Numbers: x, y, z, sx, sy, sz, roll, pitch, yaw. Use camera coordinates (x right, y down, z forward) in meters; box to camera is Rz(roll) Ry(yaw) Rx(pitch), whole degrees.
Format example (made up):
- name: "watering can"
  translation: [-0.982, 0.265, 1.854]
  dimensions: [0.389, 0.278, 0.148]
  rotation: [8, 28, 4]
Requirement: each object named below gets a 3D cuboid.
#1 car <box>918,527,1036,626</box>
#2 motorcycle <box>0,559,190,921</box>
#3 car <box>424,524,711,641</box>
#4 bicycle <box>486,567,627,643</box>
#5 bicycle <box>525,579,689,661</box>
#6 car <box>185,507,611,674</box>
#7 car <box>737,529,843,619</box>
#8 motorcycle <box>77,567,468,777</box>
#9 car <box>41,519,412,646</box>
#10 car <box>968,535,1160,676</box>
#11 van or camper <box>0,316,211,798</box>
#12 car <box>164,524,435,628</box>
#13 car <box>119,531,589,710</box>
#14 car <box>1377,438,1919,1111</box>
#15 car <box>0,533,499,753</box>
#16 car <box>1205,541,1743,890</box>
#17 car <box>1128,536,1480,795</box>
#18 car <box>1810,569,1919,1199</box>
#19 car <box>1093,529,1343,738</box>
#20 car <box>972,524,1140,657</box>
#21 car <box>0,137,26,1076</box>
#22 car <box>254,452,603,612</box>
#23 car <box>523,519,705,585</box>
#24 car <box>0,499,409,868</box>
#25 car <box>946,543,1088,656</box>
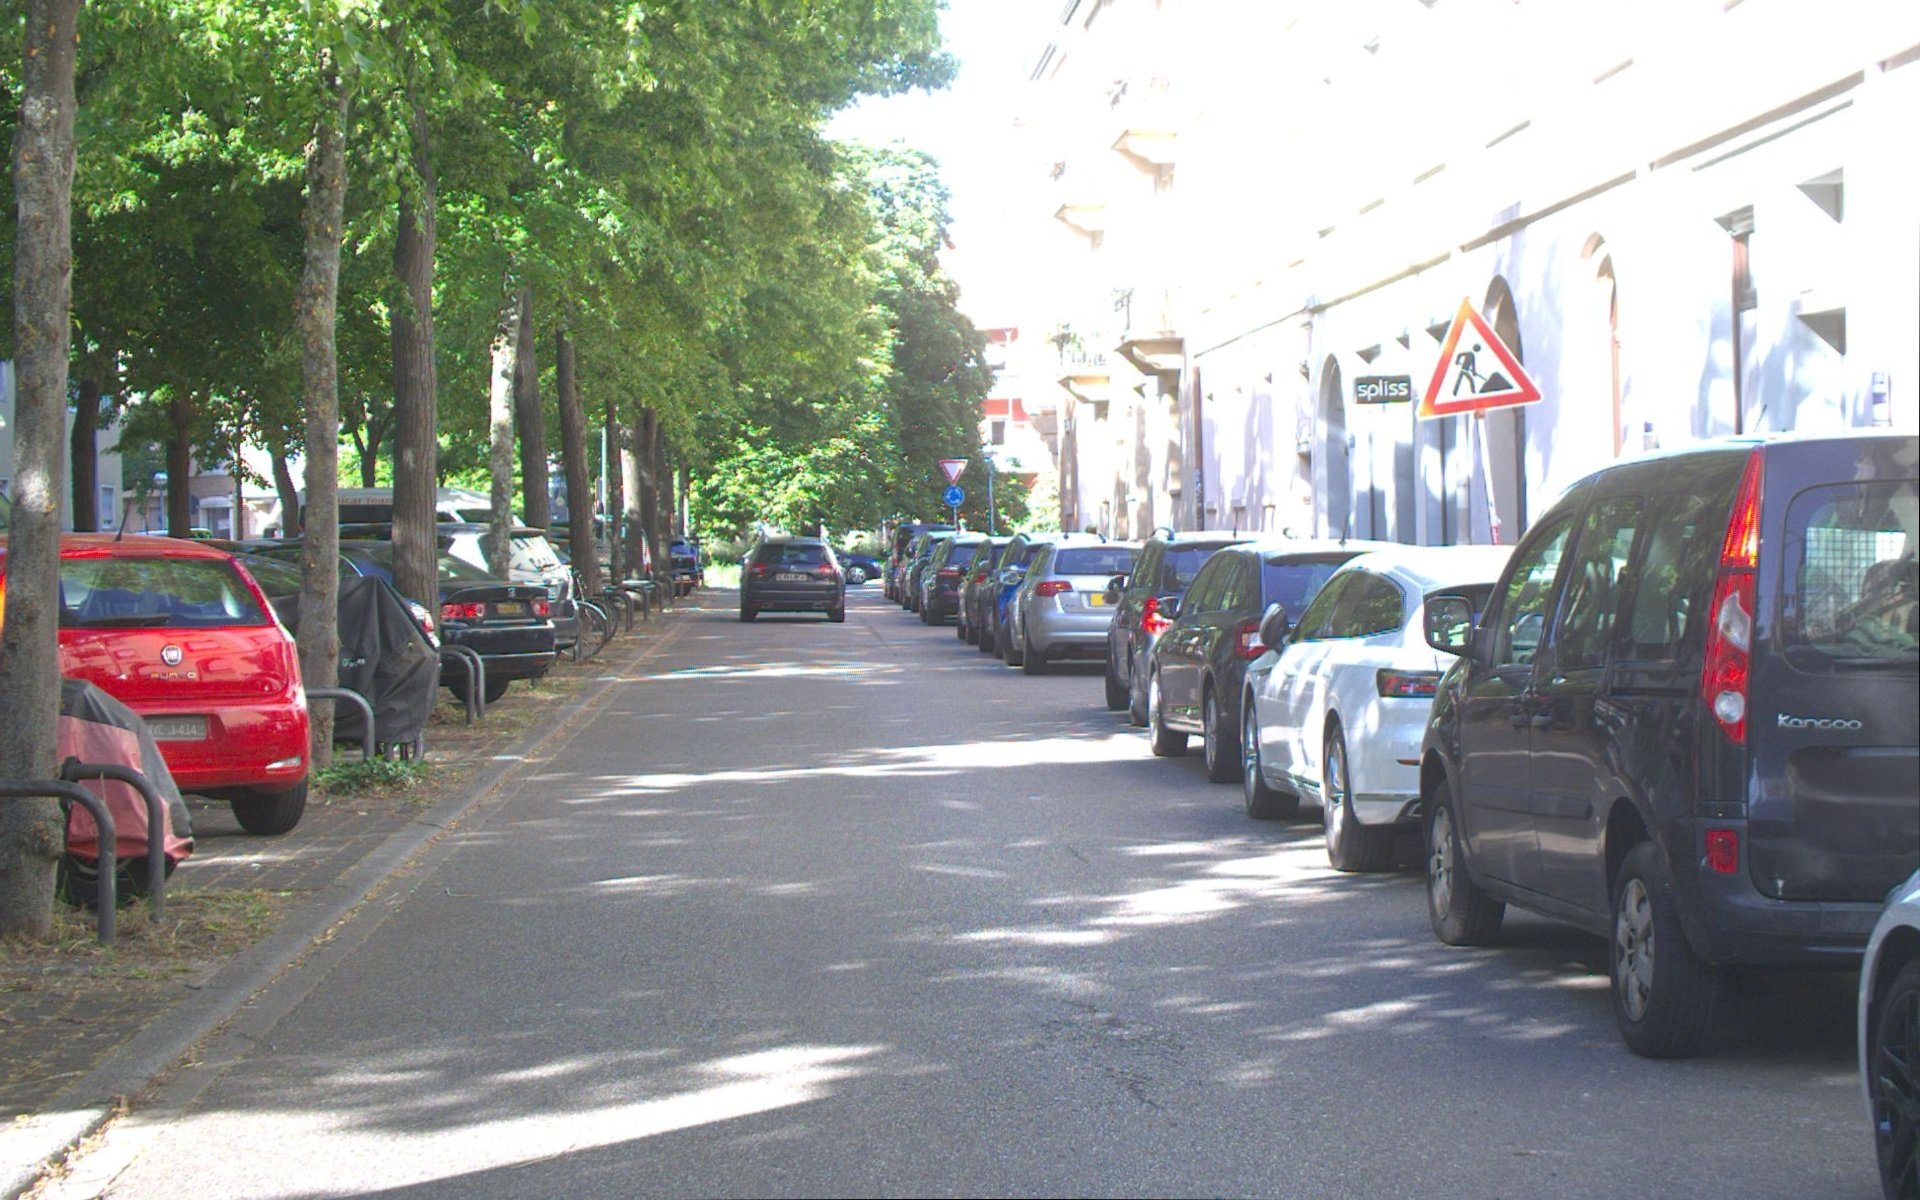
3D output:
- name: "car"
  translation: [0.247, -0.420, 57.676]
  dimensions: [1.805, 1.558, 4.321]
  rotation: [-1, 1, -1]
- name: "motorcycle"
  translation: [-4.167, 0.538, 13.190]
  dimensions: [2.318, 1.330, 0.969]
  rotation: [-2, 1, -12]
- name: "car"
  translation: [-5.632, -0.266, 49.354]
  dimensions: [3.687, 1.590, 1.771]
  rotation: [1, 1, 23]
- name: "bicycle"
  translation: [-5.333, 0.063, 45.426]
  dimensions: [1.812, 0.990, 0.425]
  rotation: [0, 1, 13]
- name: "bicycle"
  translation: [-4.129, 0.228, 40.164]
  dimensions: [1.899, 0.916, 0.379]
  rotation: [1, 1, 17]
- name: "car"
  translation: [-5.922, -0.125, 36.210]
  dimensions: [4.081, 1.647, 1.860]
  rotation: [1, 1, 25]
- name: "car"
  translation: [-2.937, -0.484, 60.193]
  dimensions: [1.714, 1.478, 4.145]
  rotation: [-1, 1, -1]
- name: "motorcycle"
  translation: [-4.141, 0.419, 20.790]
  dimensions: [2.148, 1.225, 0.881]
  rotation: [0, 1, 6]
- name: "car"
  translation: [-8.880, -0.233, 41.604]
  dimensions: [4.108, 1.468, 1.869]
  rotation: [0, 1, 26]
- name: "car"
  translation: [1.082, 0.017, 37.836]
  dimensions: [1.769, 1.426, 4.291]
  rotation: [-1, 1, -3]
- name: "van or camper"
  translation: [-8.114, -0.316, 22.126]
  dimensions: [6.295, 2.815, 2.404]
  rotation: [1, 1, 26]
- name: "car"
  translation: [-10.494, -0.383, 54.607]
  dimensions: [3.909, 1.550, 1.843]
  rotation: [-1, 1, 28]
- name: "car"
  translation: [-5.377, 0.178, 30.359]
  dimensions: [4.014, 1.469, 1.623]
  rotation: [-1, 1, 33]
- name: "car"
  translation: [2.627, 0.420, 11.227]
  dimensions: [1.771, 1.787, 3.990]
  rotation: [-1, 1, -4]
- name: "car"
  translation: [-5.404, 0.267, 23.961]
  dimensions: [4.150, 1.420, 1.712]
  rotation: [0, 0, 29]
- name: "car"
  translation: [2.305, 0.438, 16.573]
  dimensions: [1.606, 1.415, 4.569]
  rotation: [-1, 1, -4]
- name: "car"
  translation: [2.117, 0.344, 22.122]
  dimensions: [1.599, 1.487, 3.967]
  rotation: [-1, 1, -4]
- name: "car"
  translation: [2.846, 0.712, 5.534]
  dimensions: [1.704, 1.506, 4.284]
  rotation: [-1, 1, -3]
- name: "car"
  translation: [1.989, 0.207, 27.440]
  dimensions: [1.580, 1.545, 4.042]
  rotation: [0, 1, -2]
- name: "car"
  translation: [1.151, -0.150, 42.915]
  dimensions: [1.767, 1.546, 4.184]
  rotation: [-1, 1, -3]
- name: "car"
  translation: [-5.880, -0.005, 9.967]
  dimensions: [6.318, 2.550, 2.334]
  rotation: [1, 1, 30]
- name: "car"
  translation: [-10.298, -1.282, 66.762]
  dimensions: [6.068, 2.614, 2.454]
  rotation: [-4, -1, 13]
- name: "car"
  translation: [-8.125, -1.109, 80.598]
  dimensions: [4.087, 1.461, 1.867]
  rotation: [1, 0, -10]
- name: "car"
  translation: [-4.560, 0.356, 17.230]
  dimensions: [1.659, 1.612, 3.878]
  rotation: [-2, 2, -42]
- name: "car"
  translation: [0.745, -0.035, 47.307]
  dimensions: [1.692, 1.463, 4.005]
  rotation: [1, 1, -3]
